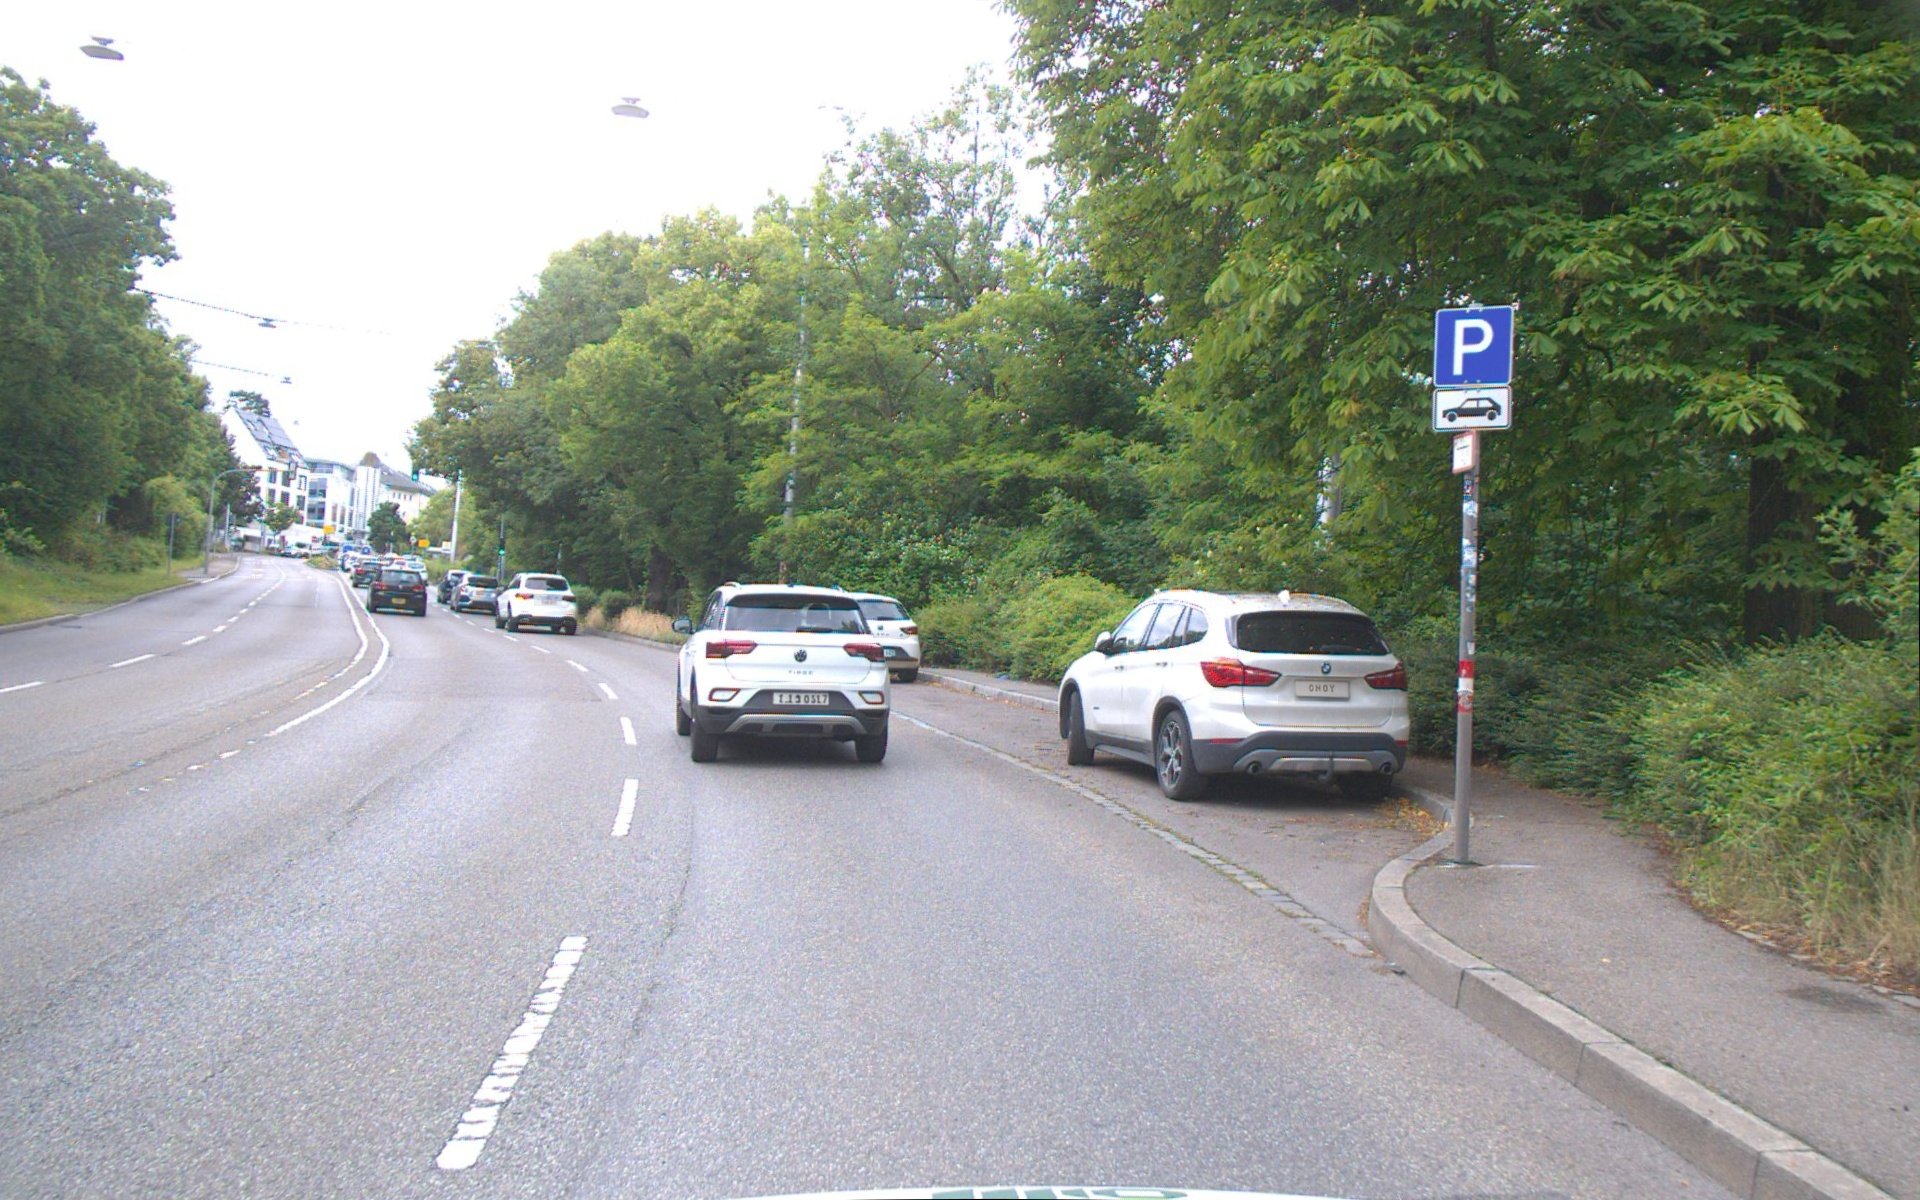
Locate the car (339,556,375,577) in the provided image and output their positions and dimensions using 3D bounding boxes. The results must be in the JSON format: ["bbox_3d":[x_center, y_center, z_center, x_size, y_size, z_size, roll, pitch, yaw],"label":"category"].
[{"bbox_3d":[-50.082,-2.798,137.439,1.957,1.554,3.992,4,1,-9],"label":"car"}]

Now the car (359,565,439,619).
[{"bbox_3d":[-18.150,-0.278,53.400,1.925,1.491,3.968,4,1,-26],"label":"car"}]

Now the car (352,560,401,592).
[{"bbox_3d":[-31.006,-1.301,87.991,1.960,1.512,3.987,4,1,-14],"label":"car"}]

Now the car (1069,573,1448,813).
[{"bbox_3d":[2.281,0.648,13.895,1.726,1.681,4.370,1,0,-10],"label":"car"}]

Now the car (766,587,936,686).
[{"bbox_3d":[-2.001,0.637,28.901,1.707,1.508,4.674,4,-2,-20],"label":"car"}]

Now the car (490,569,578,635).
[{"bbox_3d":[-12.078,0.027,46.769,1.826,1.732,3.972,1,2,-23],"label":"car"}]

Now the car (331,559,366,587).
[{"bbox_3d":[-39.073,-1.733,105.713,1.683,1.617,3.983,4,1,-16],"label":"car"}]

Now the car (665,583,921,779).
[{"bbox_3d":[-1.740,0.662,15.887,1.966,1.624,3.987,1,0,-13],"label":"car"}]
